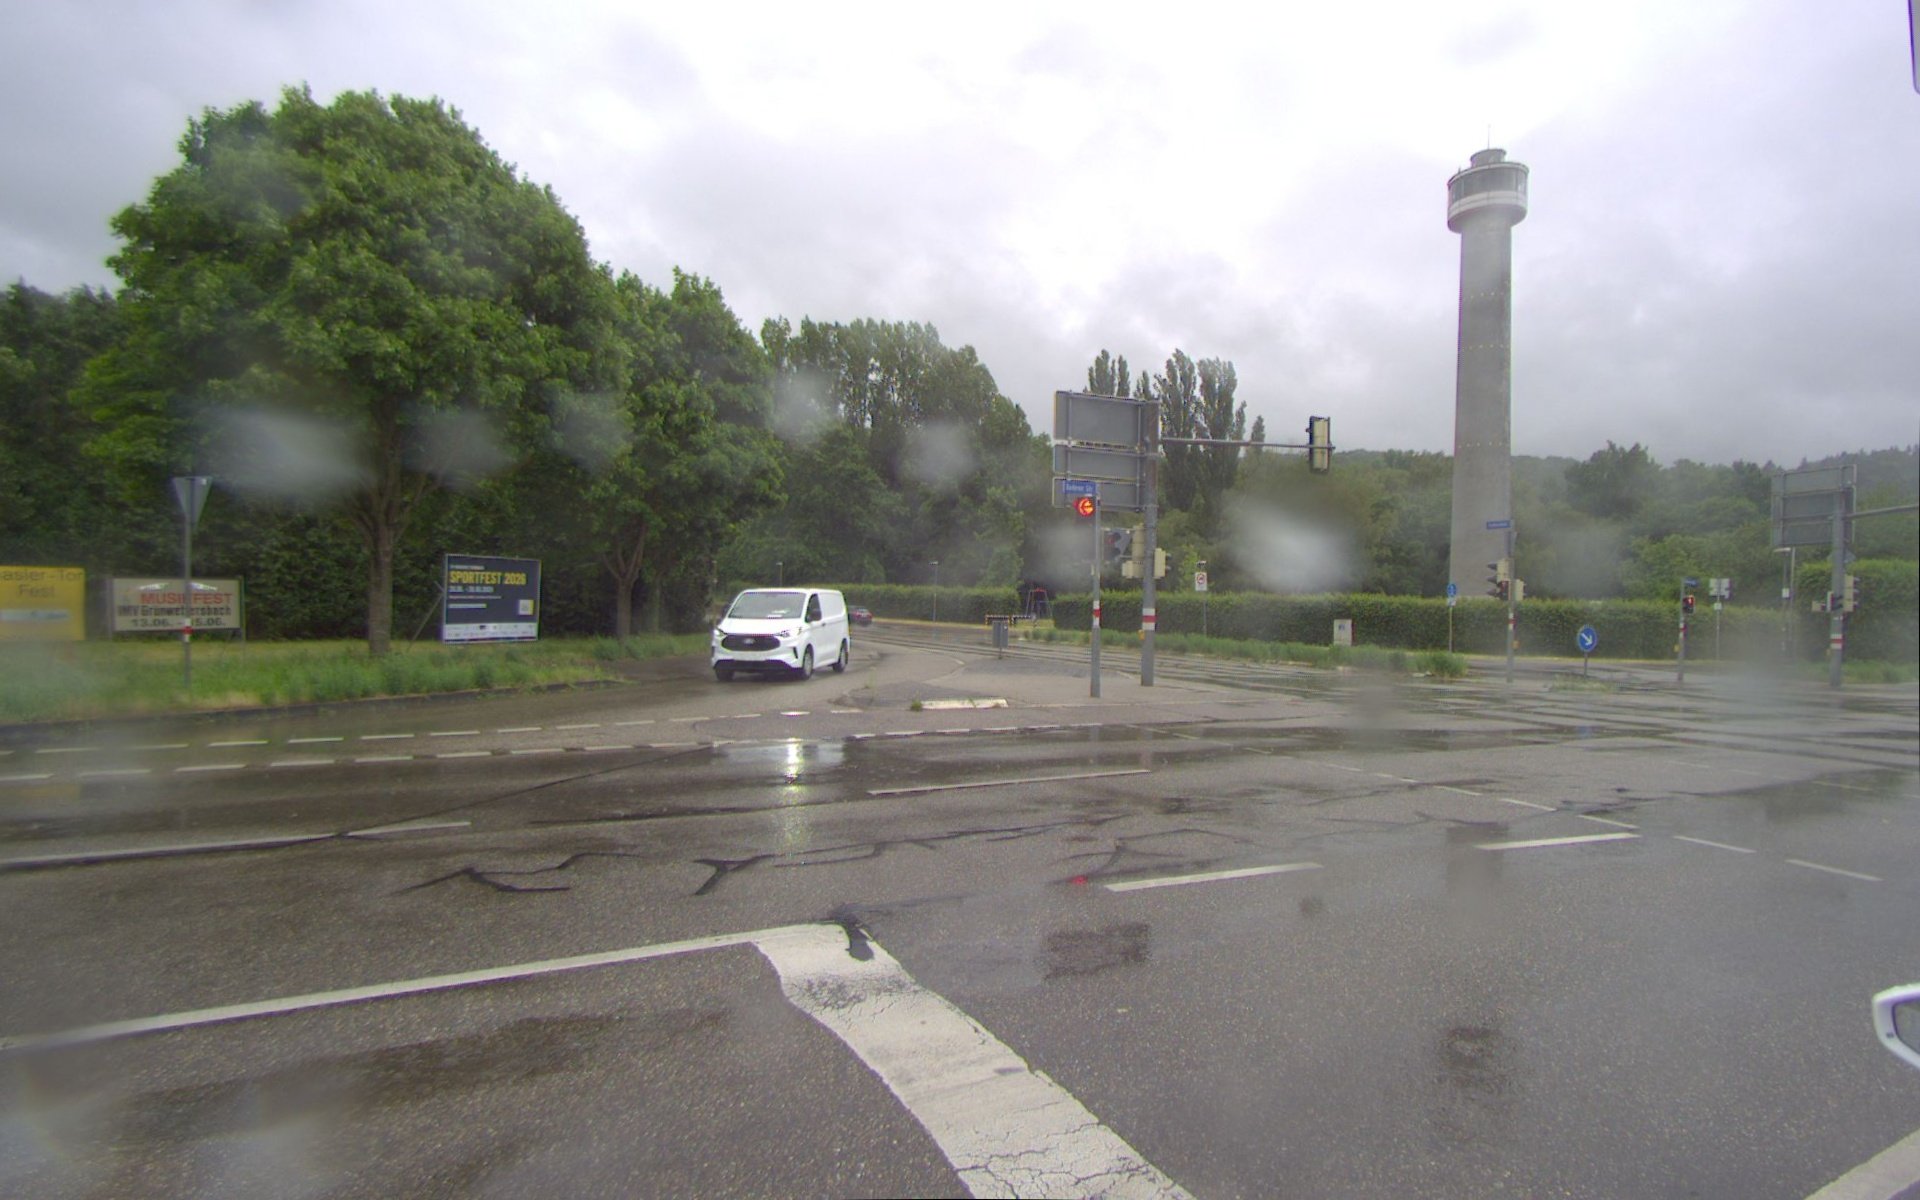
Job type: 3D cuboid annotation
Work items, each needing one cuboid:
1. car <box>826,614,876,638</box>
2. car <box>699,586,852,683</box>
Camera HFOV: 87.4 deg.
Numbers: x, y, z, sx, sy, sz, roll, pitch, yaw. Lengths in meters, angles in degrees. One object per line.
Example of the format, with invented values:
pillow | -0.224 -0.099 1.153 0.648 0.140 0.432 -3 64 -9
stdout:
car | -7.633 1.813 70.164 1.744 1.606 4.079 1 -1 -35
car | -3.963 0.726 22.543 2.070 1.917 4.794 0 -1 7
